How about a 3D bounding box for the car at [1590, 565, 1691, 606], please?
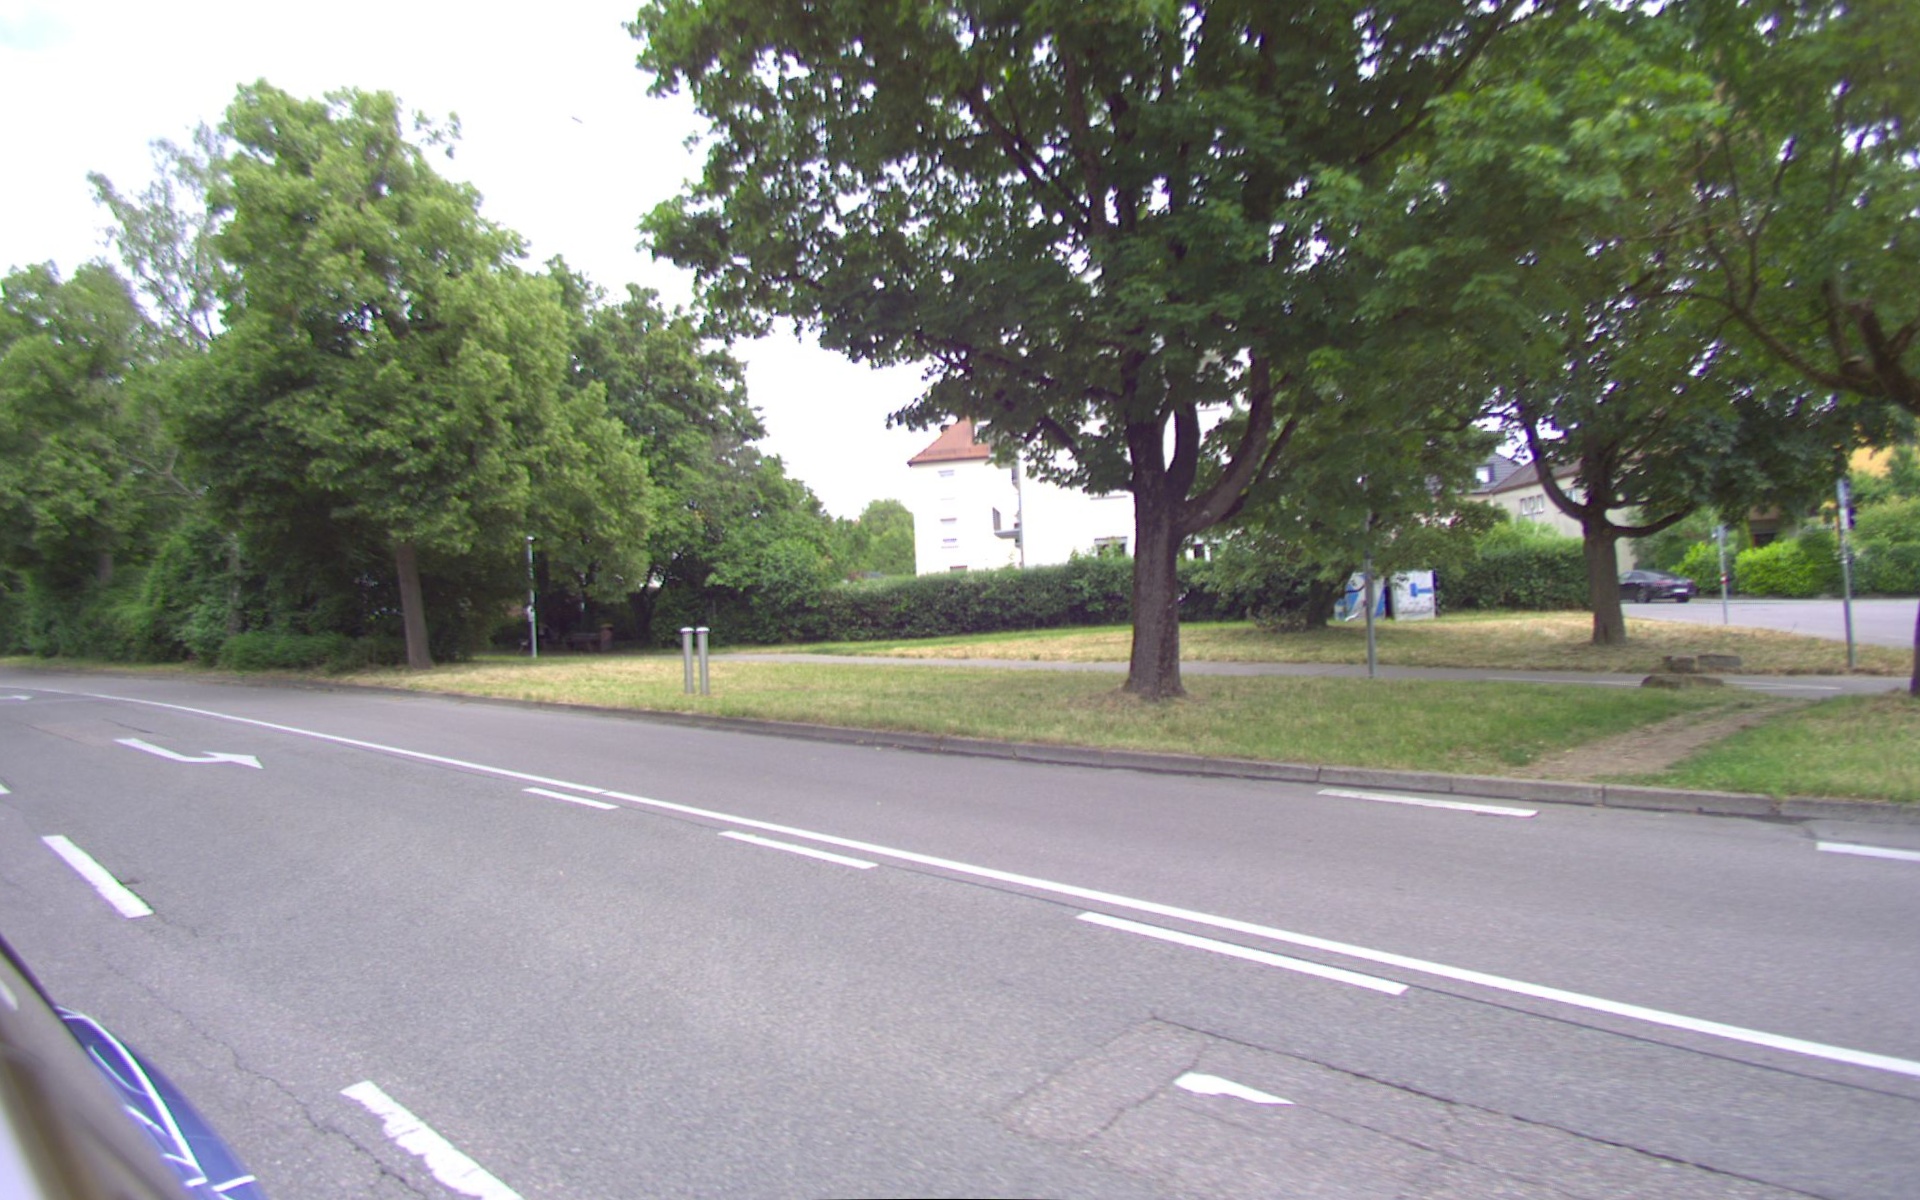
[{"bbox_3d":[28.703,-0.623,42.837,1.780,1.546,3.885,-5,1,4],"label":"car"}]
